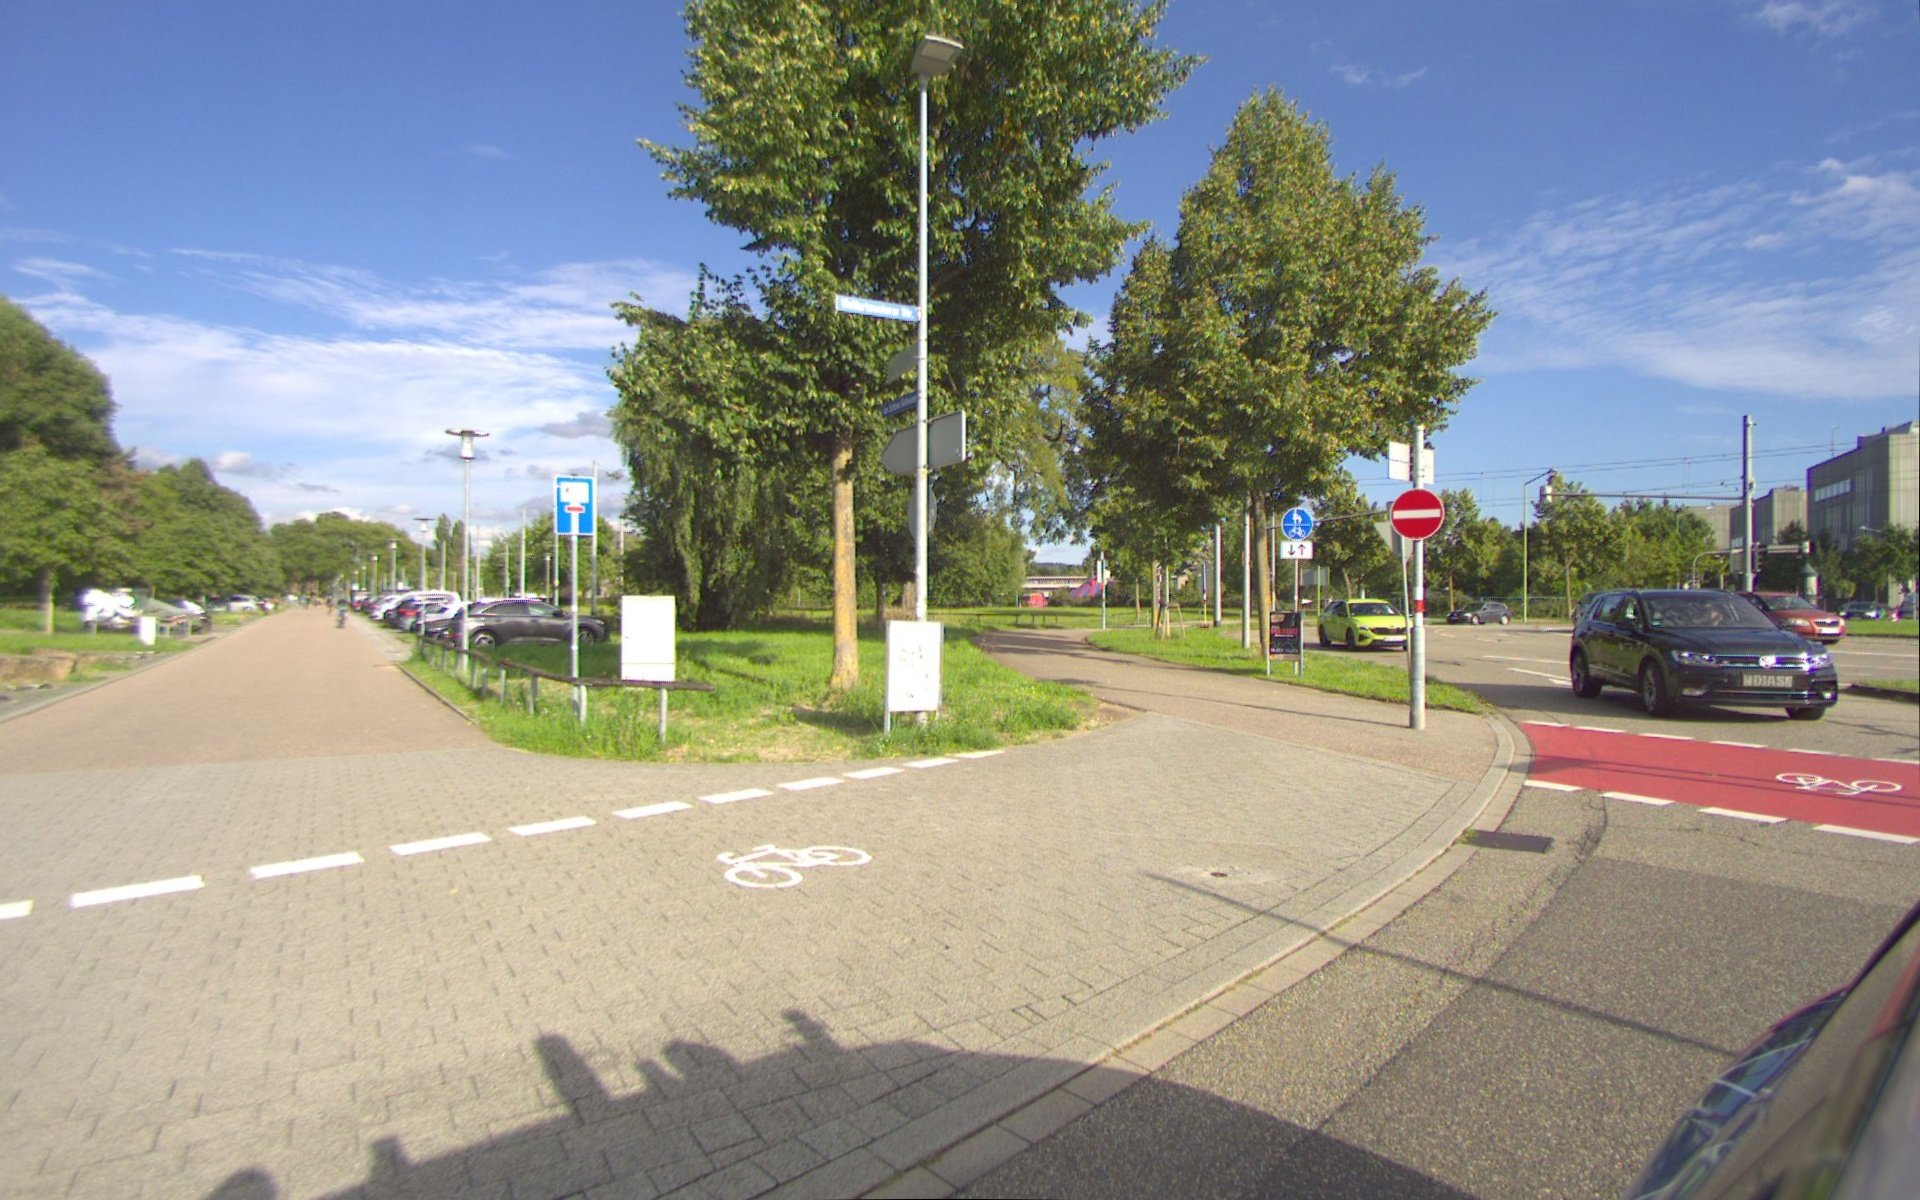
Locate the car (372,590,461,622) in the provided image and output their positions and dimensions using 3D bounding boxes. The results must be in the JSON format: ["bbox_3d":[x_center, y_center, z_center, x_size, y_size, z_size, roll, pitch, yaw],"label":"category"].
[{"bbox_3d":[-35.371,0.344,65.990,5.010,2.033,2.320,0,0,-29],"label":"car"}]

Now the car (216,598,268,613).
[{"bbox_3d":[-67.993,0.494,95.870,3.922,1.352,1.781,0,0,-33],"label":"car"}]

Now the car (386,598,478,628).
[{"bbox_3d":[-28.920,0.690,55.480,4.381,1.534,1.862,0,0,-32],"label":"car"}]

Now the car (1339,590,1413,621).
[{"bbox_3d":[23.367,0.282,56.746,4.720,1.683,1.997,0,0,-41],"label":"car"}]

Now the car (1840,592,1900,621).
[{"bbox_3d":[54.980,0.383,61.227,1.986,1.683,4.745,0,0,34],"label":"car"}]

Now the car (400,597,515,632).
[{"bbox_3d":[-23.308,0.659,46.974,4.654,1.534,1.862,0,0,-32],"label":"car"}]

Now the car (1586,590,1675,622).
[{"bbox_3d":[37.183,0.322,56.114,4.704,1.683,2.003,0,0,-26],"label":"car"}]

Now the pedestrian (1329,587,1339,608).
[{"bbox_3d":[32.012,-0.227,86.618,0.655,1.754,0.597,0,0,-34],"label":"pedestrian"}]

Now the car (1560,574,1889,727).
[{"bbox_3d":[10.188,0.554,14.065,1.846,1.716,4.992,0,0,15],"label":"car"}]

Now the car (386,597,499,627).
[{"bbox_3d":[-25.144,0.554,49.217,4.738,1.375,1.862,0,0,-32],"label":"car"}]

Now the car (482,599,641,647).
[{"bbox_3d":[-13.078,0.703,33.311,4.640,1.458,1.862,0,0,-32],"label":"car"}]

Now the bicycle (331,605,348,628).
[{"bbox_3d":[-33.476,0.883,54.591,0.757,1.151,2.151,-1,1,-33],"label":"bicycle"}]

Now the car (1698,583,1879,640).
[{"bbox_3d":[23.548,0.315,28.991,1.662,1.493,4.227,-1,0,0],"label":"car"}]

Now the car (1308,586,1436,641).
[{"bbox_3d":[11.864,0.359,29.500,1.861,1.438,4.606,-1,0,1],"label":"car"}]

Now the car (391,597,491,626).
[{"bbox_3d":[-26.382,0.556,51.467,4.381,1.380,1.862,0,0,-32],"label":"car"}]

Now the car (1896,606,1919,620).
[{"bbox_3d":[89.462,1.254,94.689,1.670,1.281,3.955,2,0,27],"label":"car"}]

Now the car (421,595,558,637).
[{"bbox_3d":[-18.253,0.590,39.315,4.640,1.534,1.862,0,0,-32],"label":"car"}]

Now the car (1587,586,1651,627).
[{"bbox_3d":[25.775,0.236,39.506,1.686,1.493,4.167,1,0,39],"label":"car"}]

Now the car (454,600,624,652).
[{"bbox_3d":[-12.440,0.724,29.953,4.426,1.399,1.862,0,0,-32],"label":"car"}]

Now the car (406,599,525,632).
[{"bbox_3d":[-21.950,0.656,44.968,4.640,1.376,1.862,0,0,-32],"label":"car"}]

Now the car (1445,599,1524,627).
[{"bbox_3d":[32.813,0.767,63.263,4.704,1.683,2.003,0,0,-26],"label":"car"}]

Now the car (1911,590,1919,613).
[{"bbox_3d":[94.990,0.147,98.512,2.048,2.292,5.962,2,0,29],"label":"car"}]

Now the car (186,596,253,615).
[{"bbox_3d":[-55.173,0.407,75.512,3.922,1.352,1.781,0,0,-33],"label":"car"}]

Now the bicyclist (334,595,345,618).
[{"bbox_3d":[-33.518,0.337,54.659,0.443,1.260,0.851,0,0,-33],"label":"bicyclist"}]

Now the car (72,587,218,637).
[{"bbox_3d":[-35.708,0.510,44.512,4.714,2.039,1.879,-1,-1,-30],"label":"car"}]

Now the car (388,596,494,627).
[{"bbox_3d":[-27.354,0.574,53.386,4.847,1.534,1.862,0,0,-32],"label":"car"}]

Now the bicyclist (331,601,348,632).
[{"bbox_3d":[-33.470,0.883,54.585,0.757,1.594,0.960,-1,1,-33],"label":"bicyclist"}]
